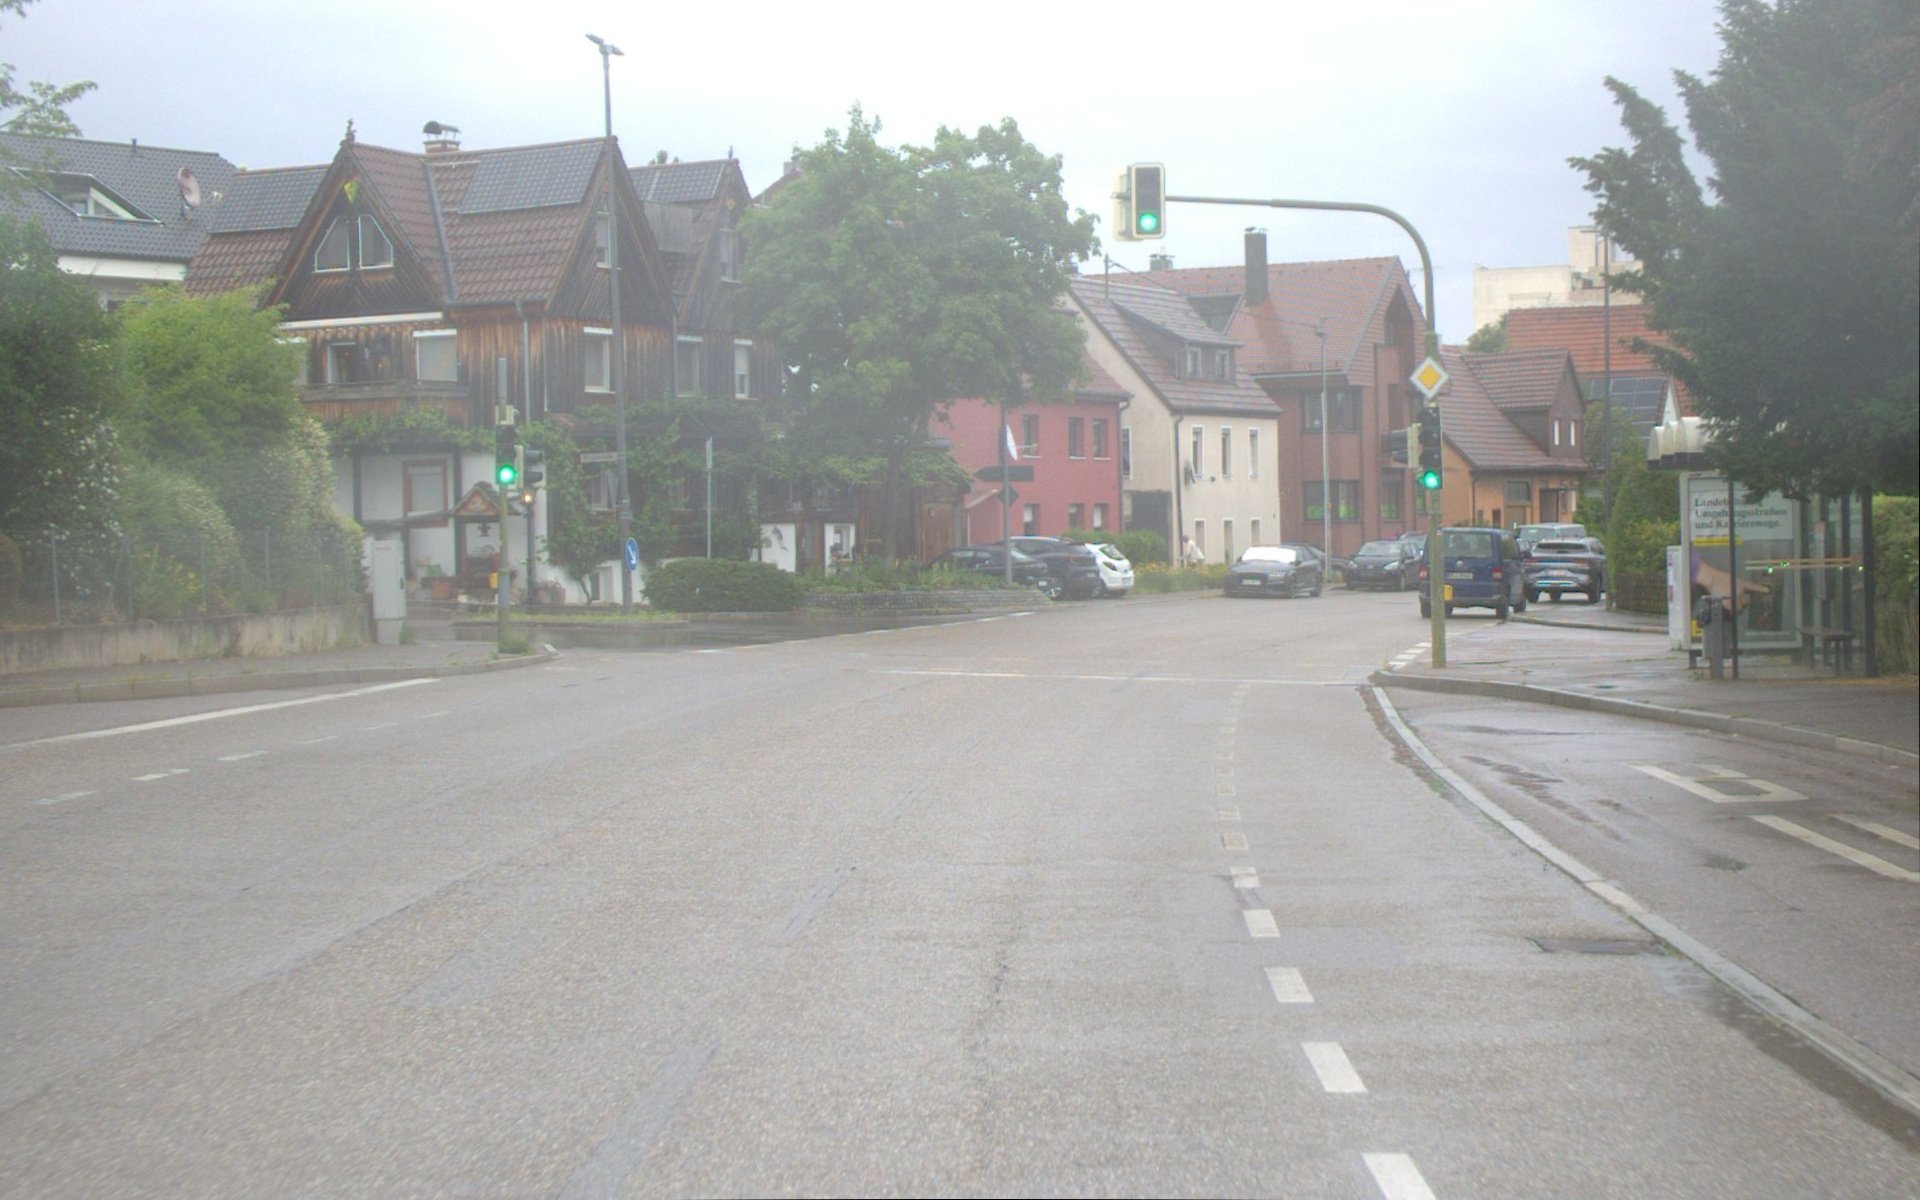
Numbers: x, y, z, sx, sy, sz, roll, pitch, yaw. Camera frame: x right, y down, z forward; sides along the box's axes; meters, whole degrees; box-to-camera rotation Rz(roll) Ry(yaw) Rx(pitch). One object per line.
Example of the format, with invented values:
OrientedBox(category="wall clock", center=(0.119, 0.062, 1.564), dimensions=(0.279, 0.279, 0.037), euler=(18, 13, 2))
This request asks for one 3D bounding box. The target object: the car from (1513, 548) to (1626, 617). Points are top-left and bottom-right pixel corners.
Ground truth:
OrientedBox(category="car", center=(16.048, -0.485, 90.335), dimensions=(1.911, 1.711, 4.550), euler=(2, 1, 23))

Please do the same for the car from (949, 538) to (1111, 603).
OrientedBox(category="car", center=(1.763, -0.761, 86.160), dimensions=(3.581, 1.501, 1.853), euler=(2, 2, 27))

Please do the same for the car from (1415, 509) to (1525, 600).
OrientedBox(category="car", center=(11.240, -0.994, 75.535), dimensions=(1.932, 1.896, 4.790), euler=(1, 1, 13))

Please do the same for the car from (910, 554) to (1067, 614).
OrientedBox(category="car", center=(0.683, -0.396, 83.810), dimensions=(3.450, 1.413, 1.630), euler=(-1, 0, 25))

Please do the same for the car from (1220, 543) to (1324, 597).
OrientedBox(category="car", center=(8.320, -0.808, 91.409), dimensions=(1.628, 1.351, 4.106), euler=(2, 1, 22))

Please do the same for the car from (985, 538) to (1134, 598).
OrientedBox(category="car", center=(2.551, -0.816, 88.173), dimensions=(3.466, 1.474, 1.588), euler=(-1, 0, 25))

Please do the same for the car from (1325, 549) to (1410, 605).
OrientedBox(category="car", center=(11.974, -0.692, 100.956), dimensions=(1.607, 1.612, 3.272), euler=(-1, 0, 23))
